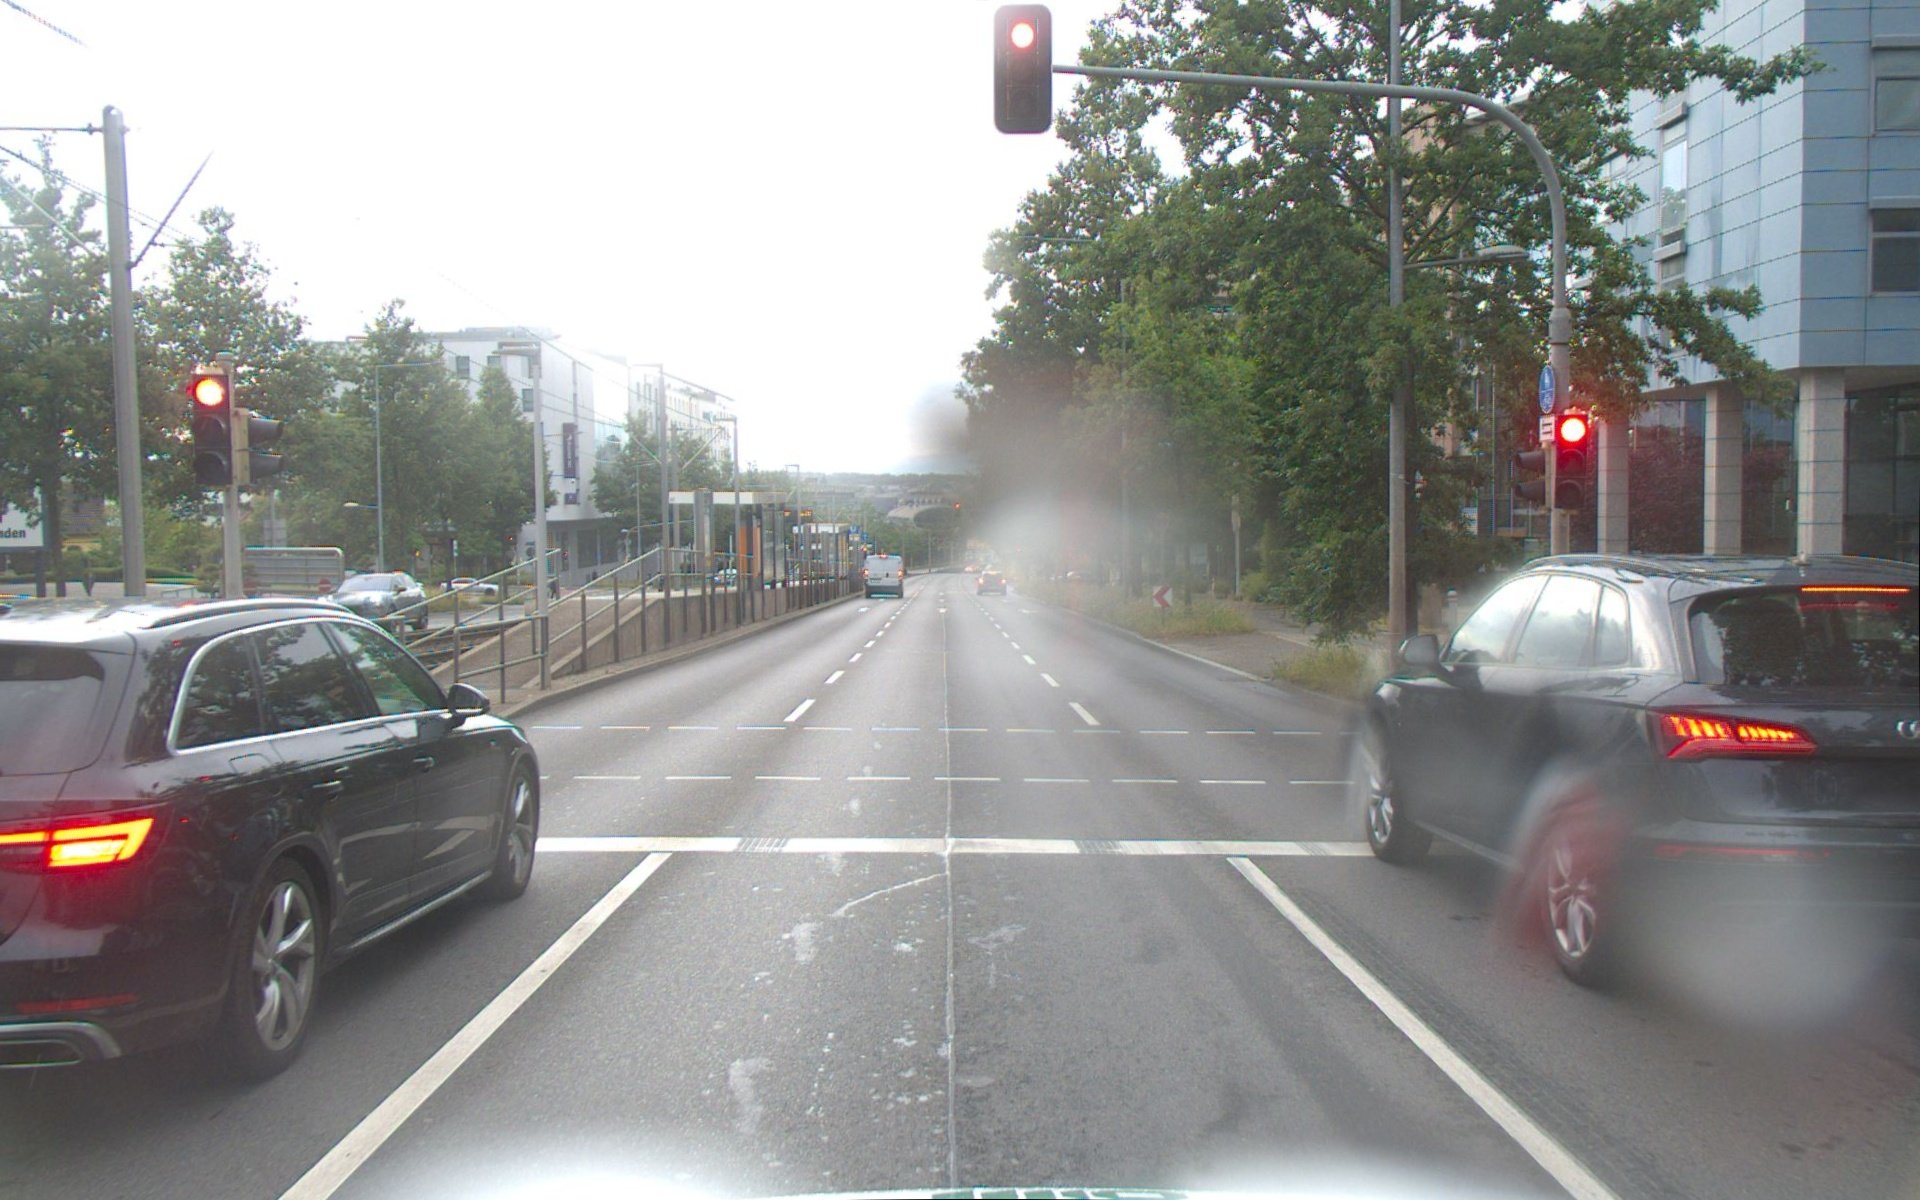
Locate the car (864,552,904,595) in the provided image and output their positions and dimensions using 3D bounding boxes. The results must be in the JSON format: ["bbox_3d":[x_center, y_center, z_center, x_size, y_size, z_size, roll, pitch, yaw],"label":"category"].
[{"bbox_3d":[-4.131,-1.471,90.370,2.050,2.089,4.608,0,4,-1],"label":"car"}]

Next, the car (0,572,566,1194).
[{"bbox_3d":[-2.856,0.643,6.204,1.744,1.492,4.513,0,1,-1],"label":"car"}]

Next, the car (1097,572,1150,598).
[{"bbox_3d":[13.039,-1.190,132.078,3.913,2.049,1.756,0,1,-9],"label":"car"}]

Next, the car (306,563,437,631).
[{"bbox_3d":[-16.464,-0.117,46.515,1.953,1.749,4.840,-2,1,-1],"label":"car"}]

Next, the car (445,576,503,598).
[{"bbox_3d":[-36.342,-0.989,123.697,3.791,1.461,1.654,-2,1,-4],"label":"car"}]

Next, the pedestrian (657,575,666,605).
[{"bbox_3d":[-19.767,-0.656,109.568,0.465,1.954,0.490,0,1,-1],"label":"pedestrian"}]

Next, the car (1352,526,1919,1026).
[{"bbox_3d":[3.273,0.548,7.677,1.781,1.641,4.470,0,1,-1],"label":"car"}]

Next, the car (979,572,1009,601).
[{"bbox_3d":[2.061,-0.845,101.888,1.738,1.720,3.845,0,1,-1],"label":"car"}]
